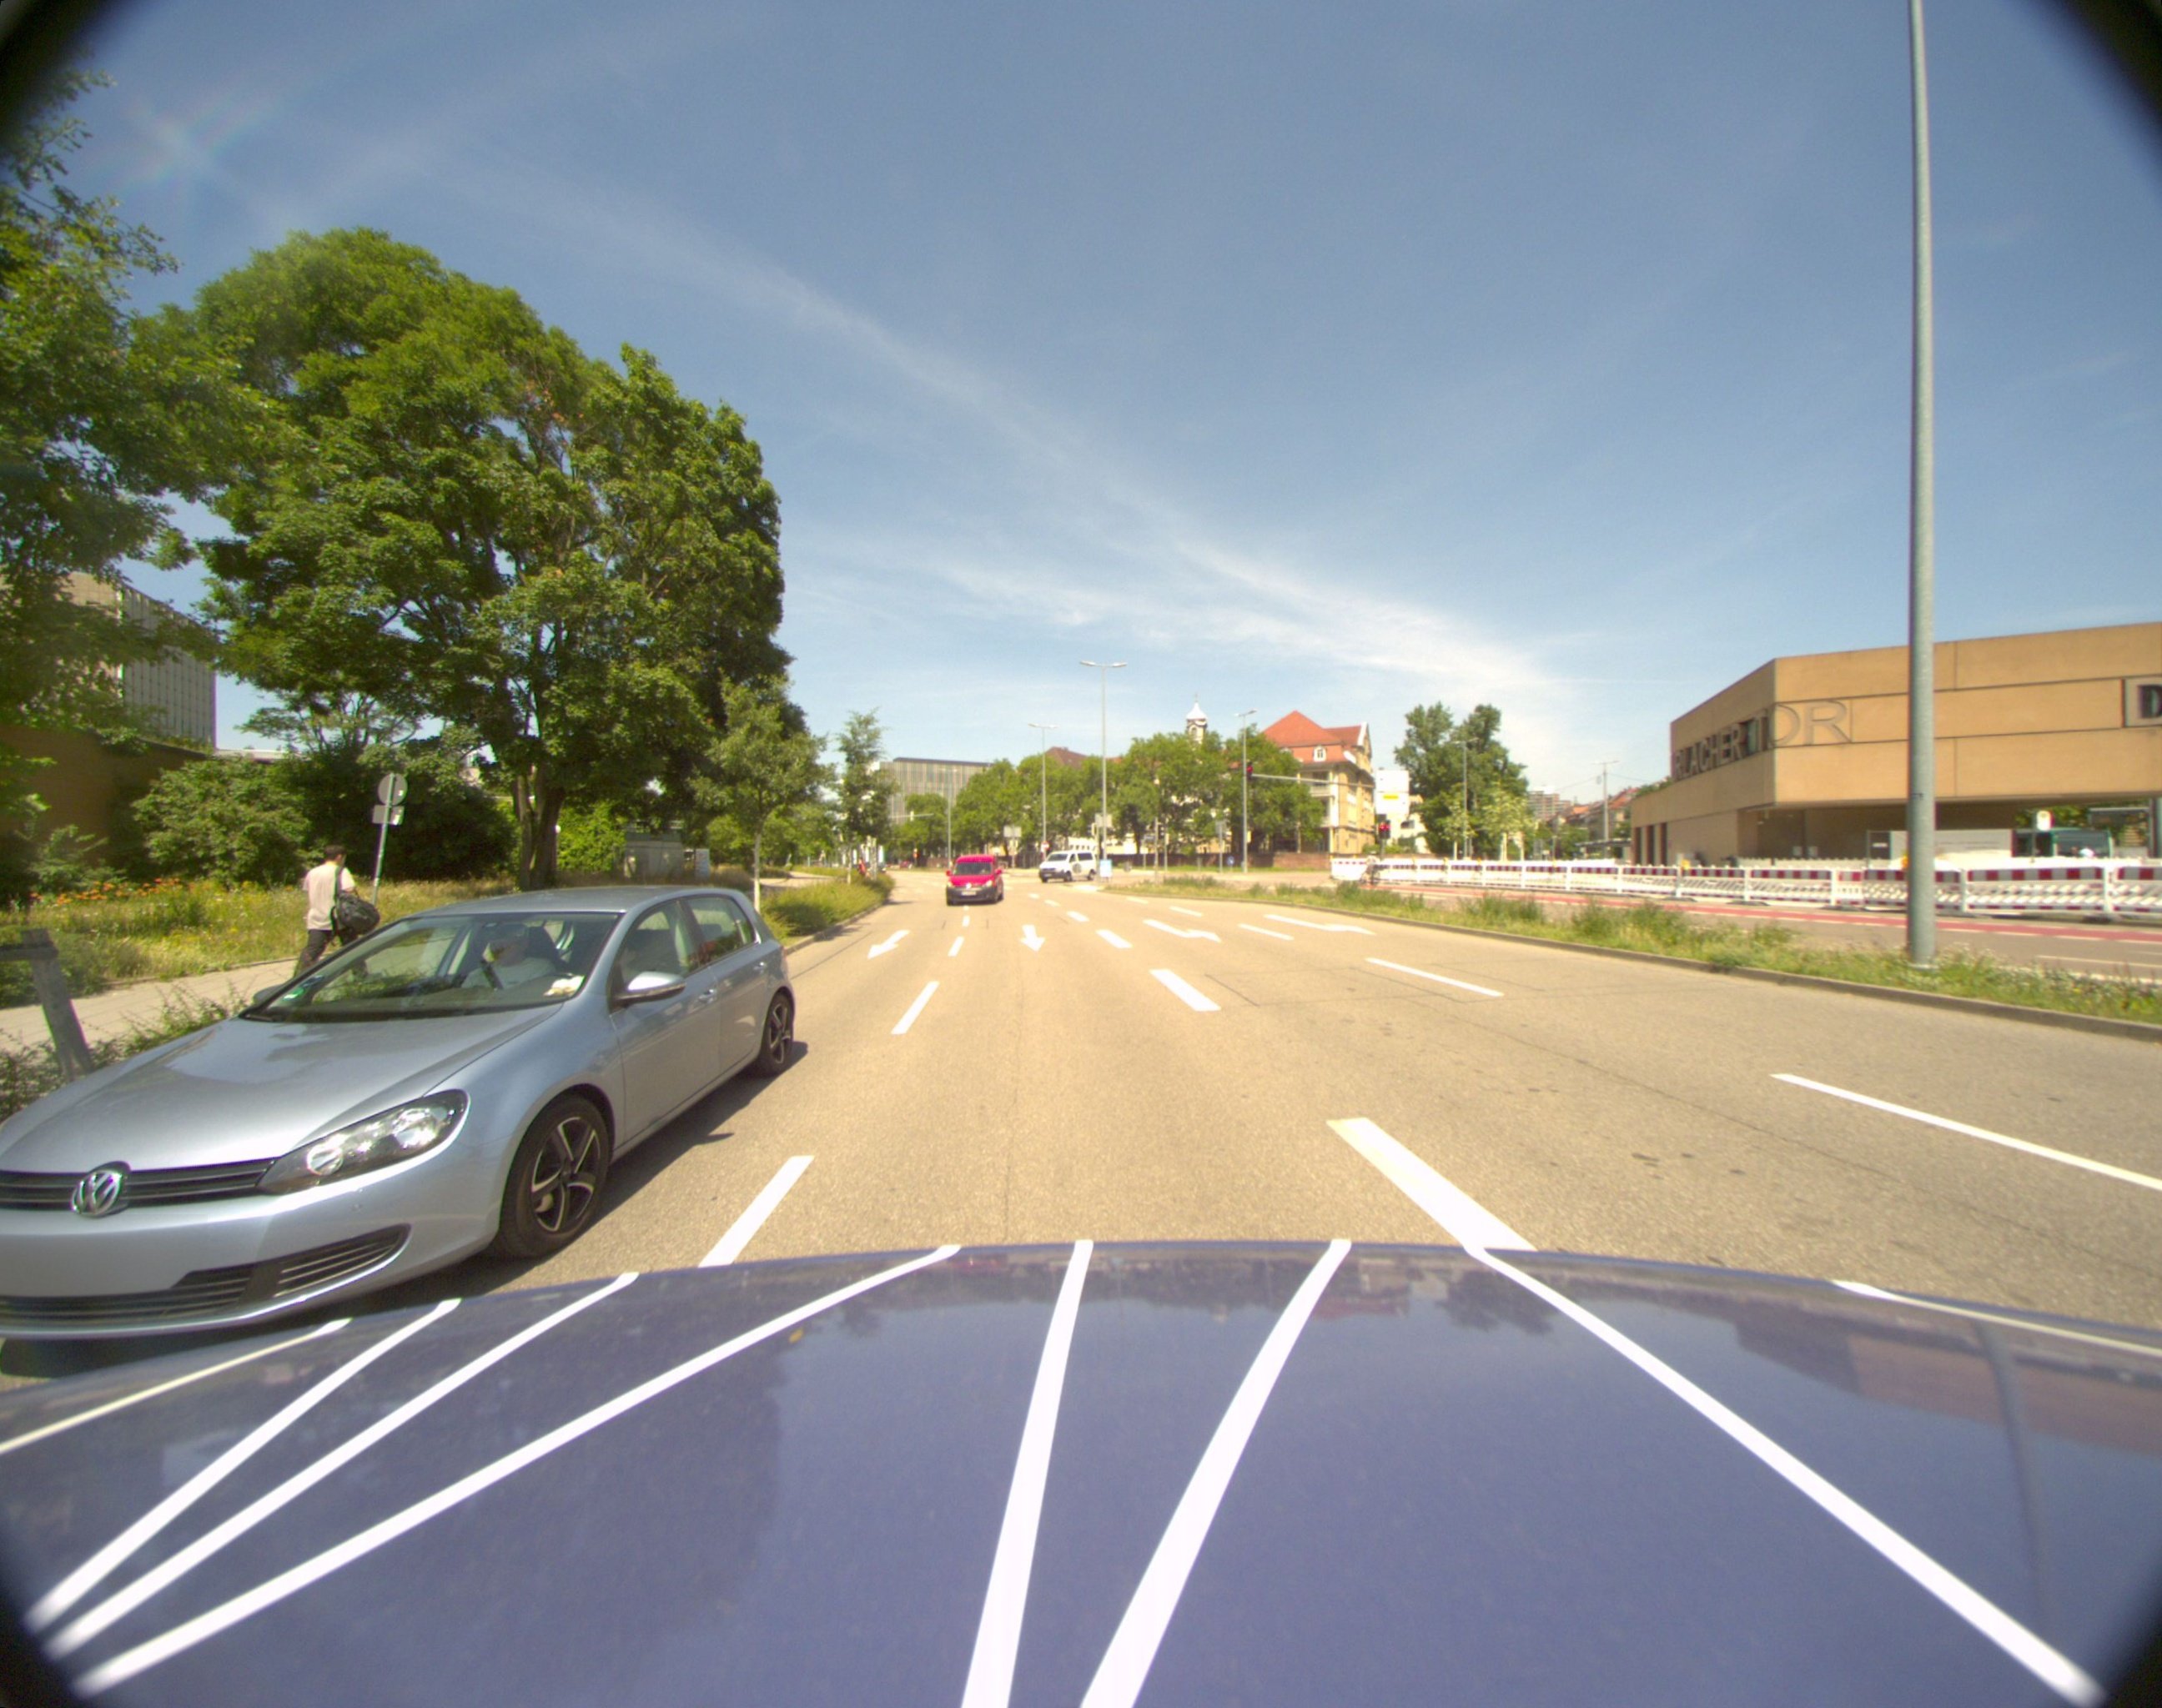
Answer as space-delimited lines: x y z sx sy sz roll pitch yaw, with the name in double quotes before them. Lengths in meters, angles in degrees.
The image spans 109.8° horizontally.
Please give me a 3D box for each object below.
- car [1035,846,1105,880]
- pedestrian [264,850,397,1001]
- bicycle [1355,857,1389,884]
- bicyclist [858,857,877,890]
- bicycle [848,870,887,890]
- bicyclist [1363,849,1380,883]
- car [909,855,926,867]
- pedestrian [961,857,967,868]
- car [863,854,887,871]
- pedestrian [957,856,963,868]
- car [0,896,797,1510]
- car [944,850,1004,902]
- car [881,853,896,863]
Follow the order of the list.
"car" -0.621 0.619 49.231 1.995 1.973 5.408 -2 -2 30
"pedestrian" -8.869 0.816 9.016 0.734 1.696 0.810 -1 0 1
"bicycle" 13.460 0.741 35.213 0.524 1.174 1.896 -1 1 -11
"bicyclist" -11.166 1.017 39.747 0.701 1.705 0.552 0 -1 23
"bicycle" -11.173 1.355 39.751 1.992 1.039 0.560 0 -1 23
"bicyclist" 13.462 0.535 35.243 0.531 1.570 0.498 -1 1 -12
"car" -28.917 1.230 134.200 2.003 2.001 4.206 0 -2 -27
"pedestrian" -20.925 1.525 136.347 0.790 2.001 0.838 -1 -2 -28
"car" -21.025 0.905 77.478 1.711 1.576 4.549 -1 -2 -23
"pedestrian" -21.670 1.462 136.053 0.790 2.001 0.962 -1 -2 -28
"car" -3.057 1.038 3.992 1.833 1.406 3.993 -1 0 -4
"car" -3.905 0.839 28.429 1.833 1.755 4.279 -1 -2 -3
"car" -35.520 0.783 140.166 1.784 1.673 3.993 -1 -2 -25
